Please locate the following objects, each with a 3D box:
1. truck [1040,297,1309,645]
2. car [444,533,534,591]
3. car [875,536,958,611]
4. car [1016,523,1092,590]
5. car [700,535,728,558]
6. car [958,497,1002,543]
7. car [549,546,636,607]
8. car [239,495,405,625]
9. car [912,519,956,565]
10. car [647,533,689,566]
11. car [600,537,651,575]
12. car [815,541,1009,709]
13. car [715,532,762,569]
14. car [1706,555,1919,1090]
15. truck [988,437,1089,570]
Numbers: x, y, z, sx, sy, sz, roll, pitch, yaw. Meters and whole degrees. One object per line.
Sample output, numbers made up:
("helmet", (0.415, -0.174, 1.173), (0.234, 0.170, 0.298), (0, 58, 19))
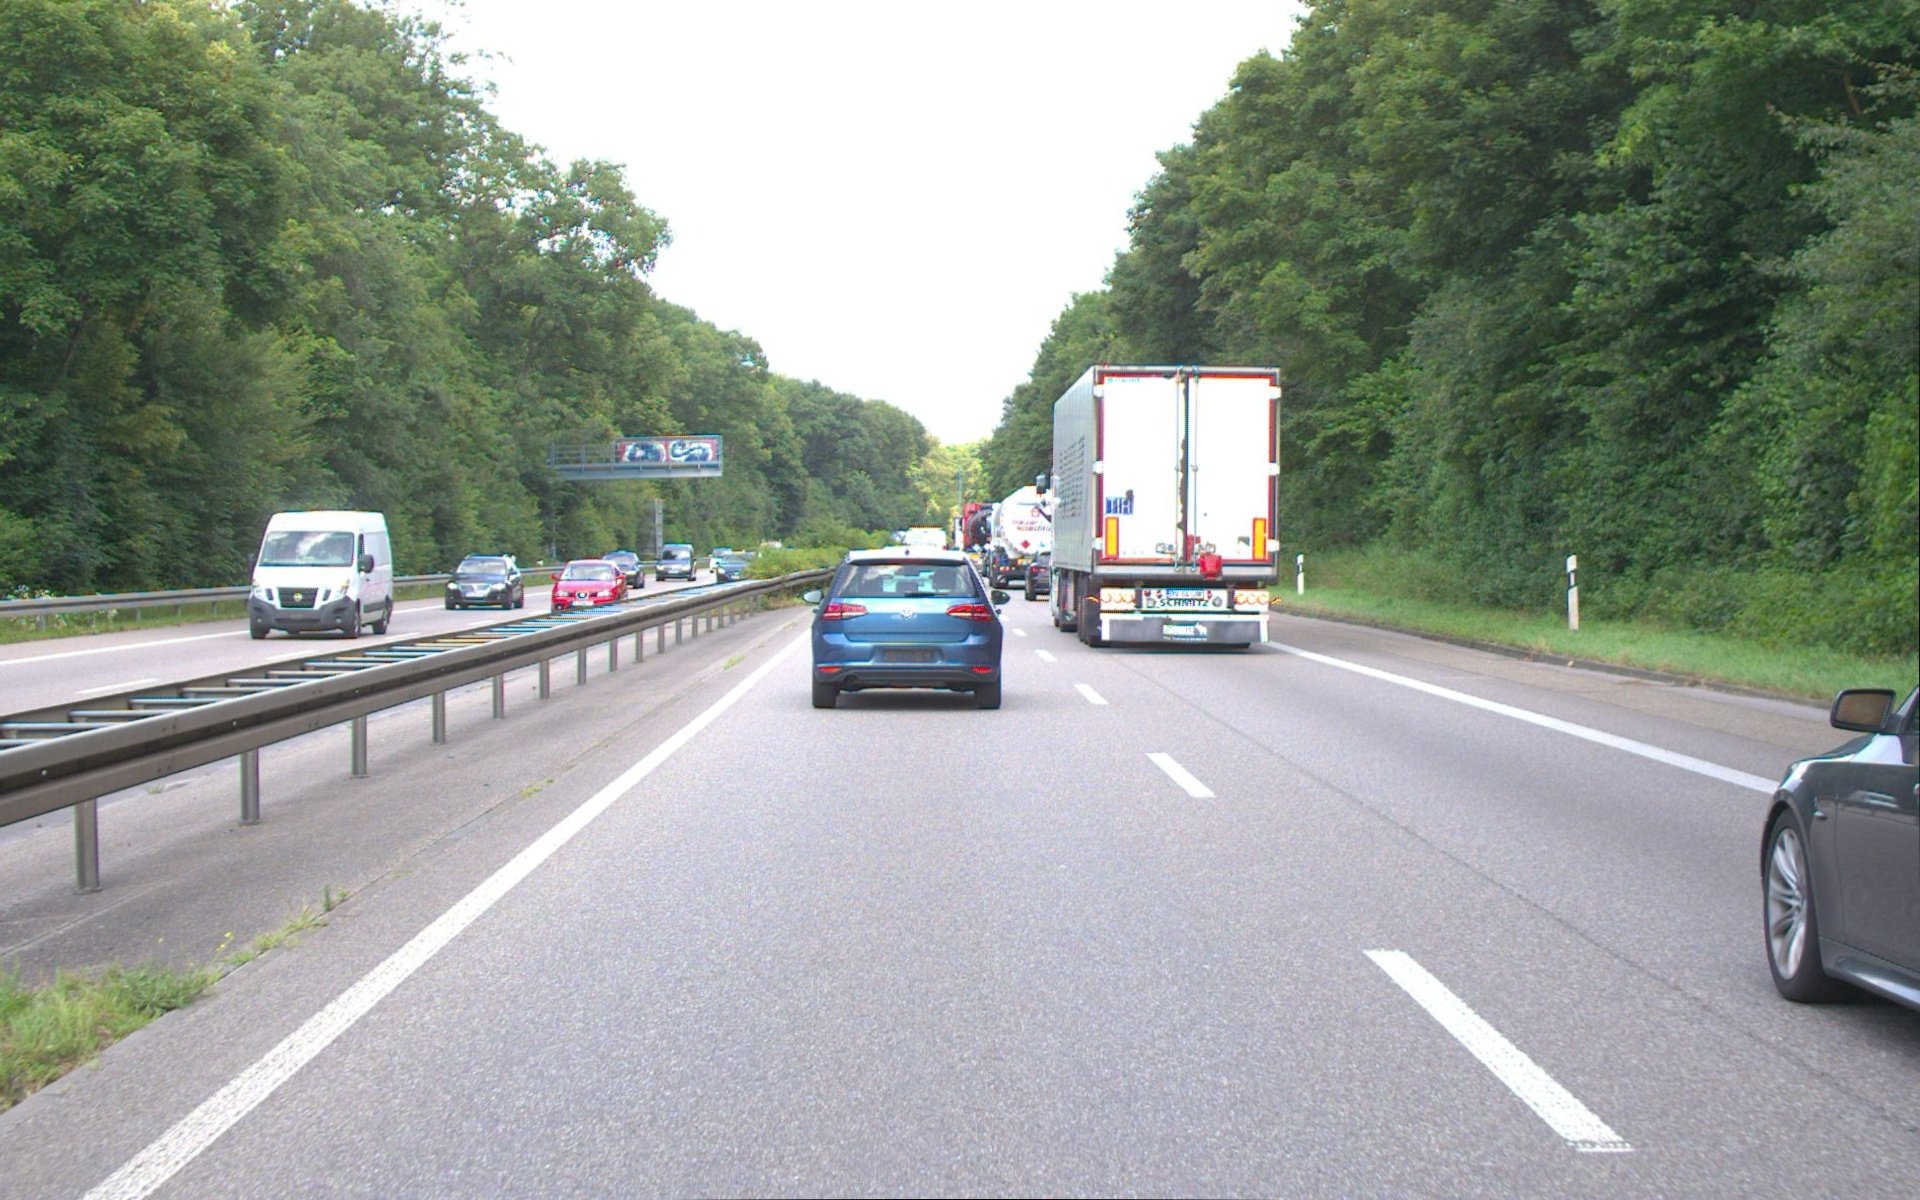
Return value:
("truck", (3.051, -1.882, 52.315), (3.242, 4.700, 11.008), (-1, 1, -1))
("car", (-13.150, -1.070, 96.200), (1.786, 1.473, 4.570), (-3, 1, 0))
("car", (-0.881, -0.578, 71.347), (1.665, 1.495, 4.152), (0, 1, 0))
("car", (2.493, -1.167, 92.075), (1.888, 1.723, 4.000), (-1, 1, 0))
("car", (-15.672, -3.425, 219.096), (1.537, 1.391, 3.511), (-1, 1, -1))
("car", (1.038, -4.142, 178.268), (1.993, 2.319, 4.443), (-1, 1, -3))
("car", (-9.067, -0.606, 85.046), (1.678, 1.449, 4.128), (1, 1, 0))
("car", (-12.393, -0.796, 67.199), (2.111, 2.414, 5.831), (1, 1, 0))
("car", (-1.329, -2.912, 171.644), (1.993, 2.247, 4.443), (-1, 1, -3))
("car", (-14.341, -2.491, 169.101), (1.760, 1.587, 4.634), (-1, 1, -1))
("car", (-13.606, -1.811, 139.997), (1.680, 1.514, 4.859), (-1, 1, -1))
("car", (-0.465, 0.188, 32.497), (1.705, 1.465, 4.000), (1, 1, -1))
("car", (-9.454, -2.129, 146.948), (1.781, 1.514, 4.267), (-1, 1, -1))
("car", (3.555, 0.632, 9.648), (1.774, 1.470, 4.881), (1, 1, -1))
("truck", (2.644, -3.240, 120.166), (3.232, 4.371, 12.971), (0, 1, 0))
